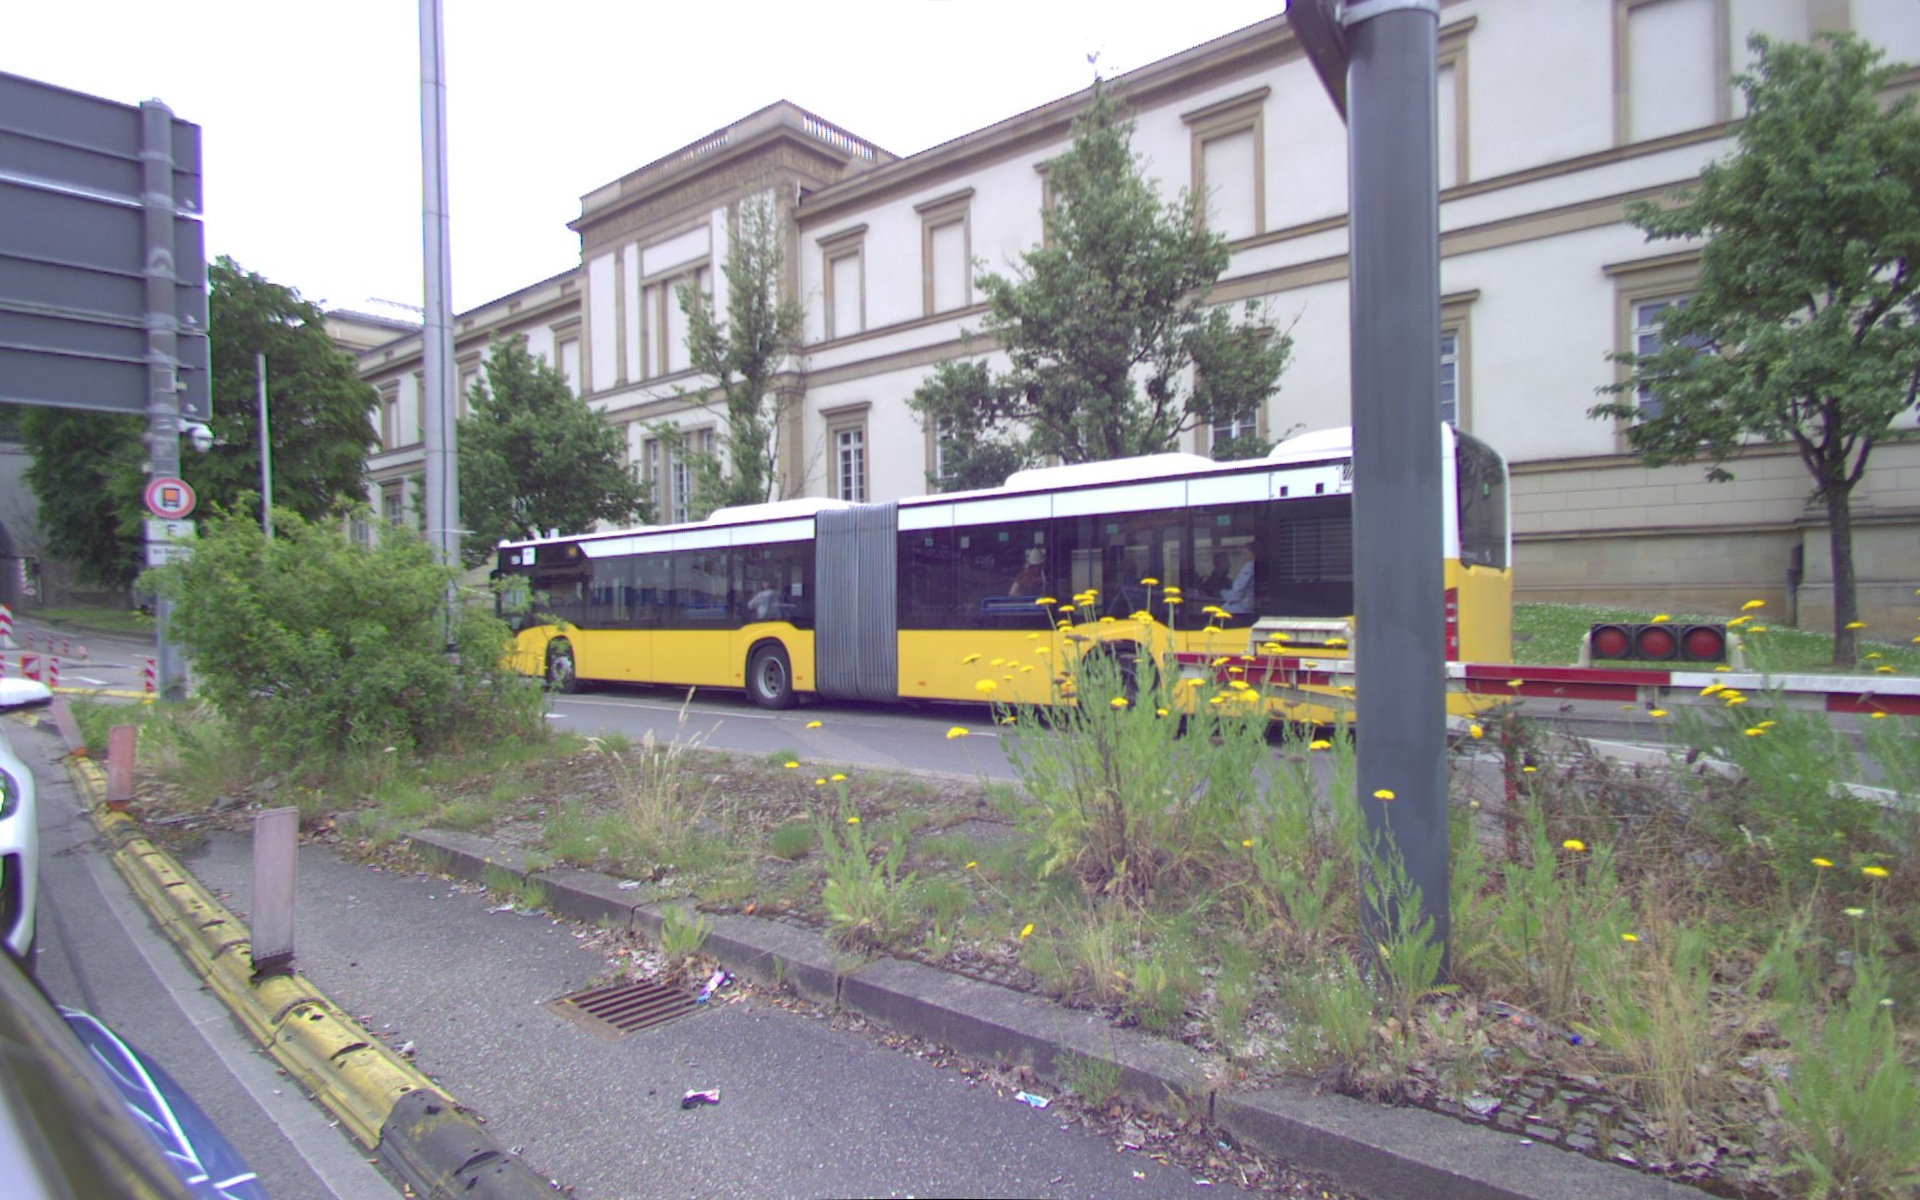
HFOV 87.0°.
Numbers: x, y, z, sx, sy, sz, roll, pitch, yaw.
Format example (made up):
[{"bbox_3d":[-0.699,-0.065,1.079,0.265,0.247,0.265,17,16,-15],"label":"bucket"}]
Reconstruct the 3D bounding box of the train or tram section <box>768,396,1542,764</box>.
[{"bbox_3d":[1.634,-0.060,12.555,9.330,3.094,2.666,-2,-2,41],"label":"train or tram section"}]

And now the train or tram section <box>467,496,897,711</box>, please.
[{"bbox_3d":[-5.493,0.163,18.544,9.366,3.094,2.667,-2,-2,39],"label":"train or tram section"}]

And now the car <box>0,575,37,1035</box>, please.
[{"bbox_3d":[-5.226,0.723,4.214,3.911,1.568,1.733,-1,0,43],"label":"car"}]
